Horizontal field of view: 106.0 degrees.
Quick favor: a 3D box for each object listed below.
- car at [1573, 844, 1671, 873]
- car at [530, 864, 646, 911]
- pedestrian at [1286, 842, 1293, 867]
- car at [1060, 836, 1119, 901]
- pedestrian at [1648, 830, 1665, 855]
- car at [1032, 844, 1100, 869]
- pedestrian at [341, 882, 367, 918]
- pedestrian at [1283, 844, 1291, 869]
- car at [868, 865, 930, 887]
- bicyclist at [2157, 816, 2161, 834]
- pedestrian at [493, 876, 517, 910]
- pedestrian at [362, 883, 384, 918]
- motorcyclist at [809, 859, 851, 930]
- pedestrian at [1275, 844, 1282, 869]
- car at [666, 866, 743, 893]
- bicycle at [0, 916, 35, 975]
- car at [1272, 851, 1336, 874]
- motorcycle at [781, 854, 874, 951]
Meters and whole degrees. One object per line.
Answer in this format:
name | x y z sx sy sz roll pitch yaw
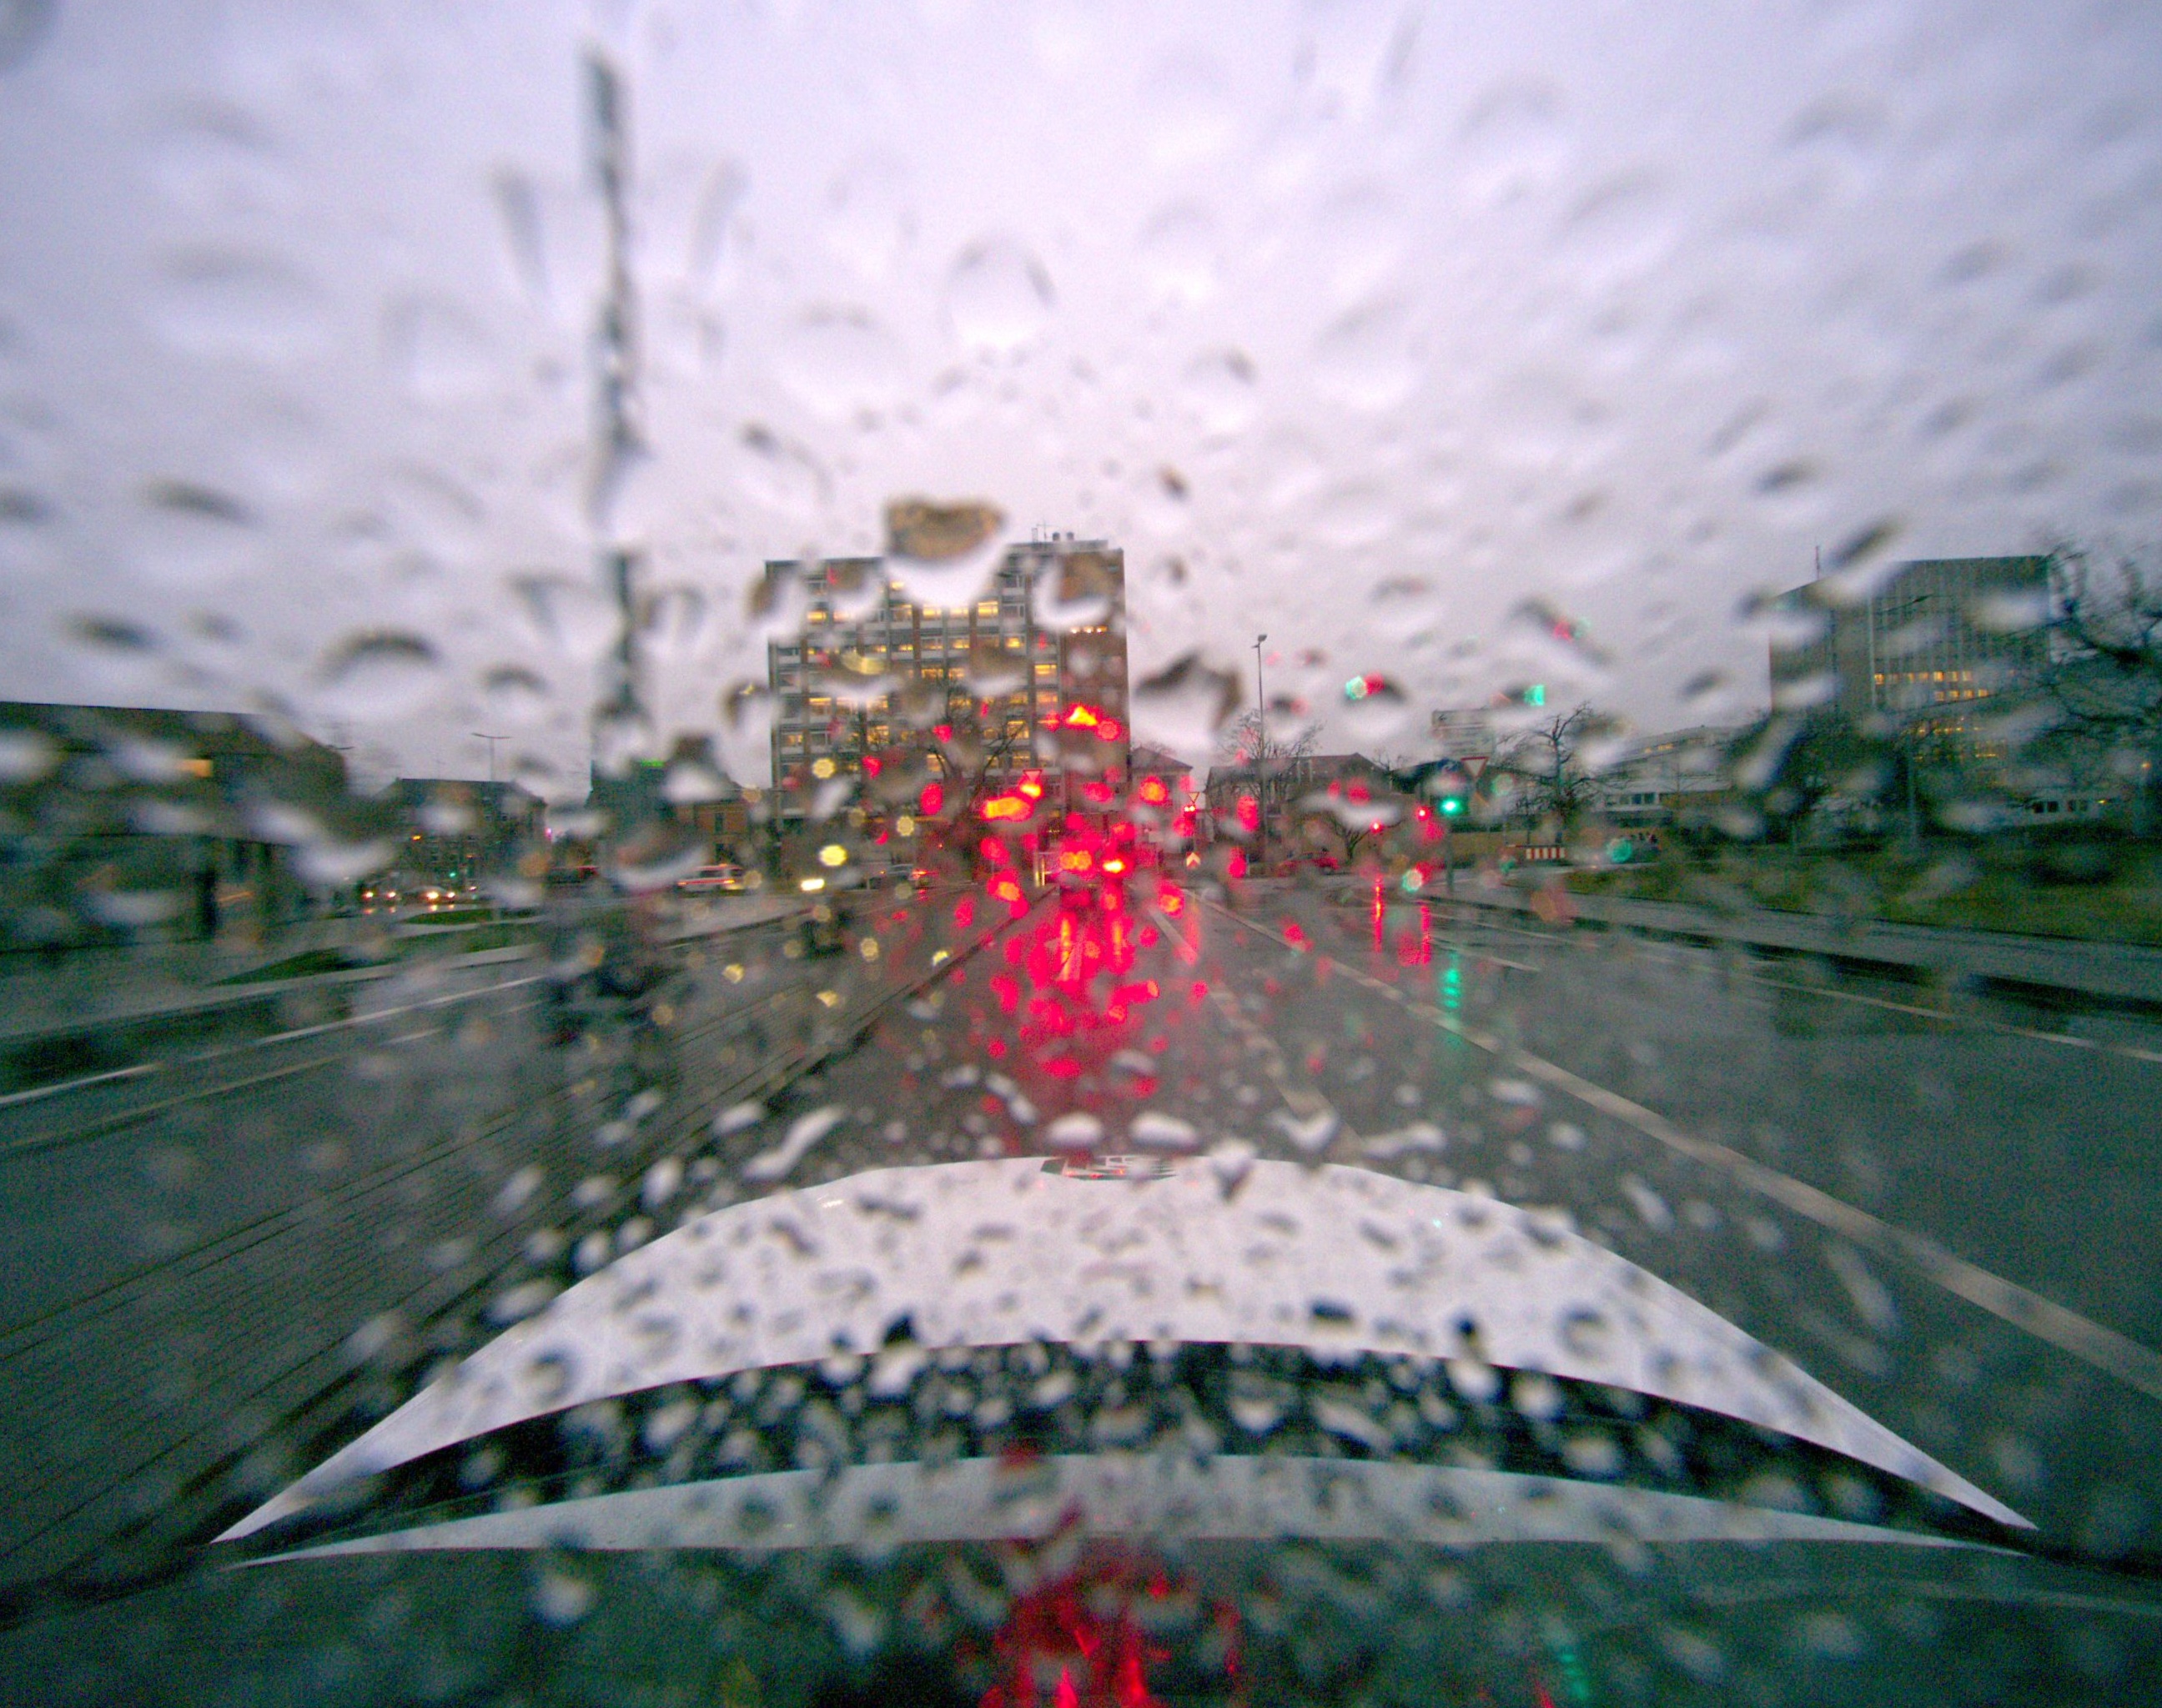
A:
car | 31.887 0.293 48.108 4.401 1.580 1.975 -1 -2 14
car | -24.964 1.674 41.308 4.981 2.282 2.268 -1 -2 17
pedestrian | 15.454 0.023 60.255 0.434 1.839 0.462 -1 -2 20
car | 0.296 0.395 24.849 1.641 1.819 4.001 -1 0 1
pedestrian | 40.093 -0.783 56.759 0.620 1.725 0.761 -1 -2 8
car | -1.235 0.214 69.551 5.517 2.024 2.004 -1 -2 7
pedestrian | -36.673 2.317 41.064 0.687 1.815 0.683 -1 -2 15
pedestrian | 14.982 0.168 59.262 0.454 1.839 0.441 -1 -2 19
car | -12.490 1.518 55.930 3.886 1.486 1.475 -1 -2 16
bicyclist | 72.959 -1.960 54.636 0.694 1.246 0.609 -1 -2 9
pedestrian | -28.663 1.930 40.528 0.456 1.697 0.801 -1 -2 25
pedestrian | -36.443 2.379 41.927 0.605 1.772 0.587 -1 -2 15
motorcyclist | -4.325 0.693 14.052 0.534 1.193 0.611 -1 -2 0
pedestrian | 14.704 0.173 60.530 0.434 1.839 0.462 -1 -2 19
car | -27.932 1.884 60.443 5.115 1.913 2.008 -1 0 16
bicycle | -22.369 1.884 16.654 0.552 1.165 1.879 1 -2 -32
car | 13.743 0.539 50.371 3.763 1.398 1.570 -1 -2 13
motorcycle | -4.328 0.773 14.112 0.826 1.497 2.314 -2 0 0
